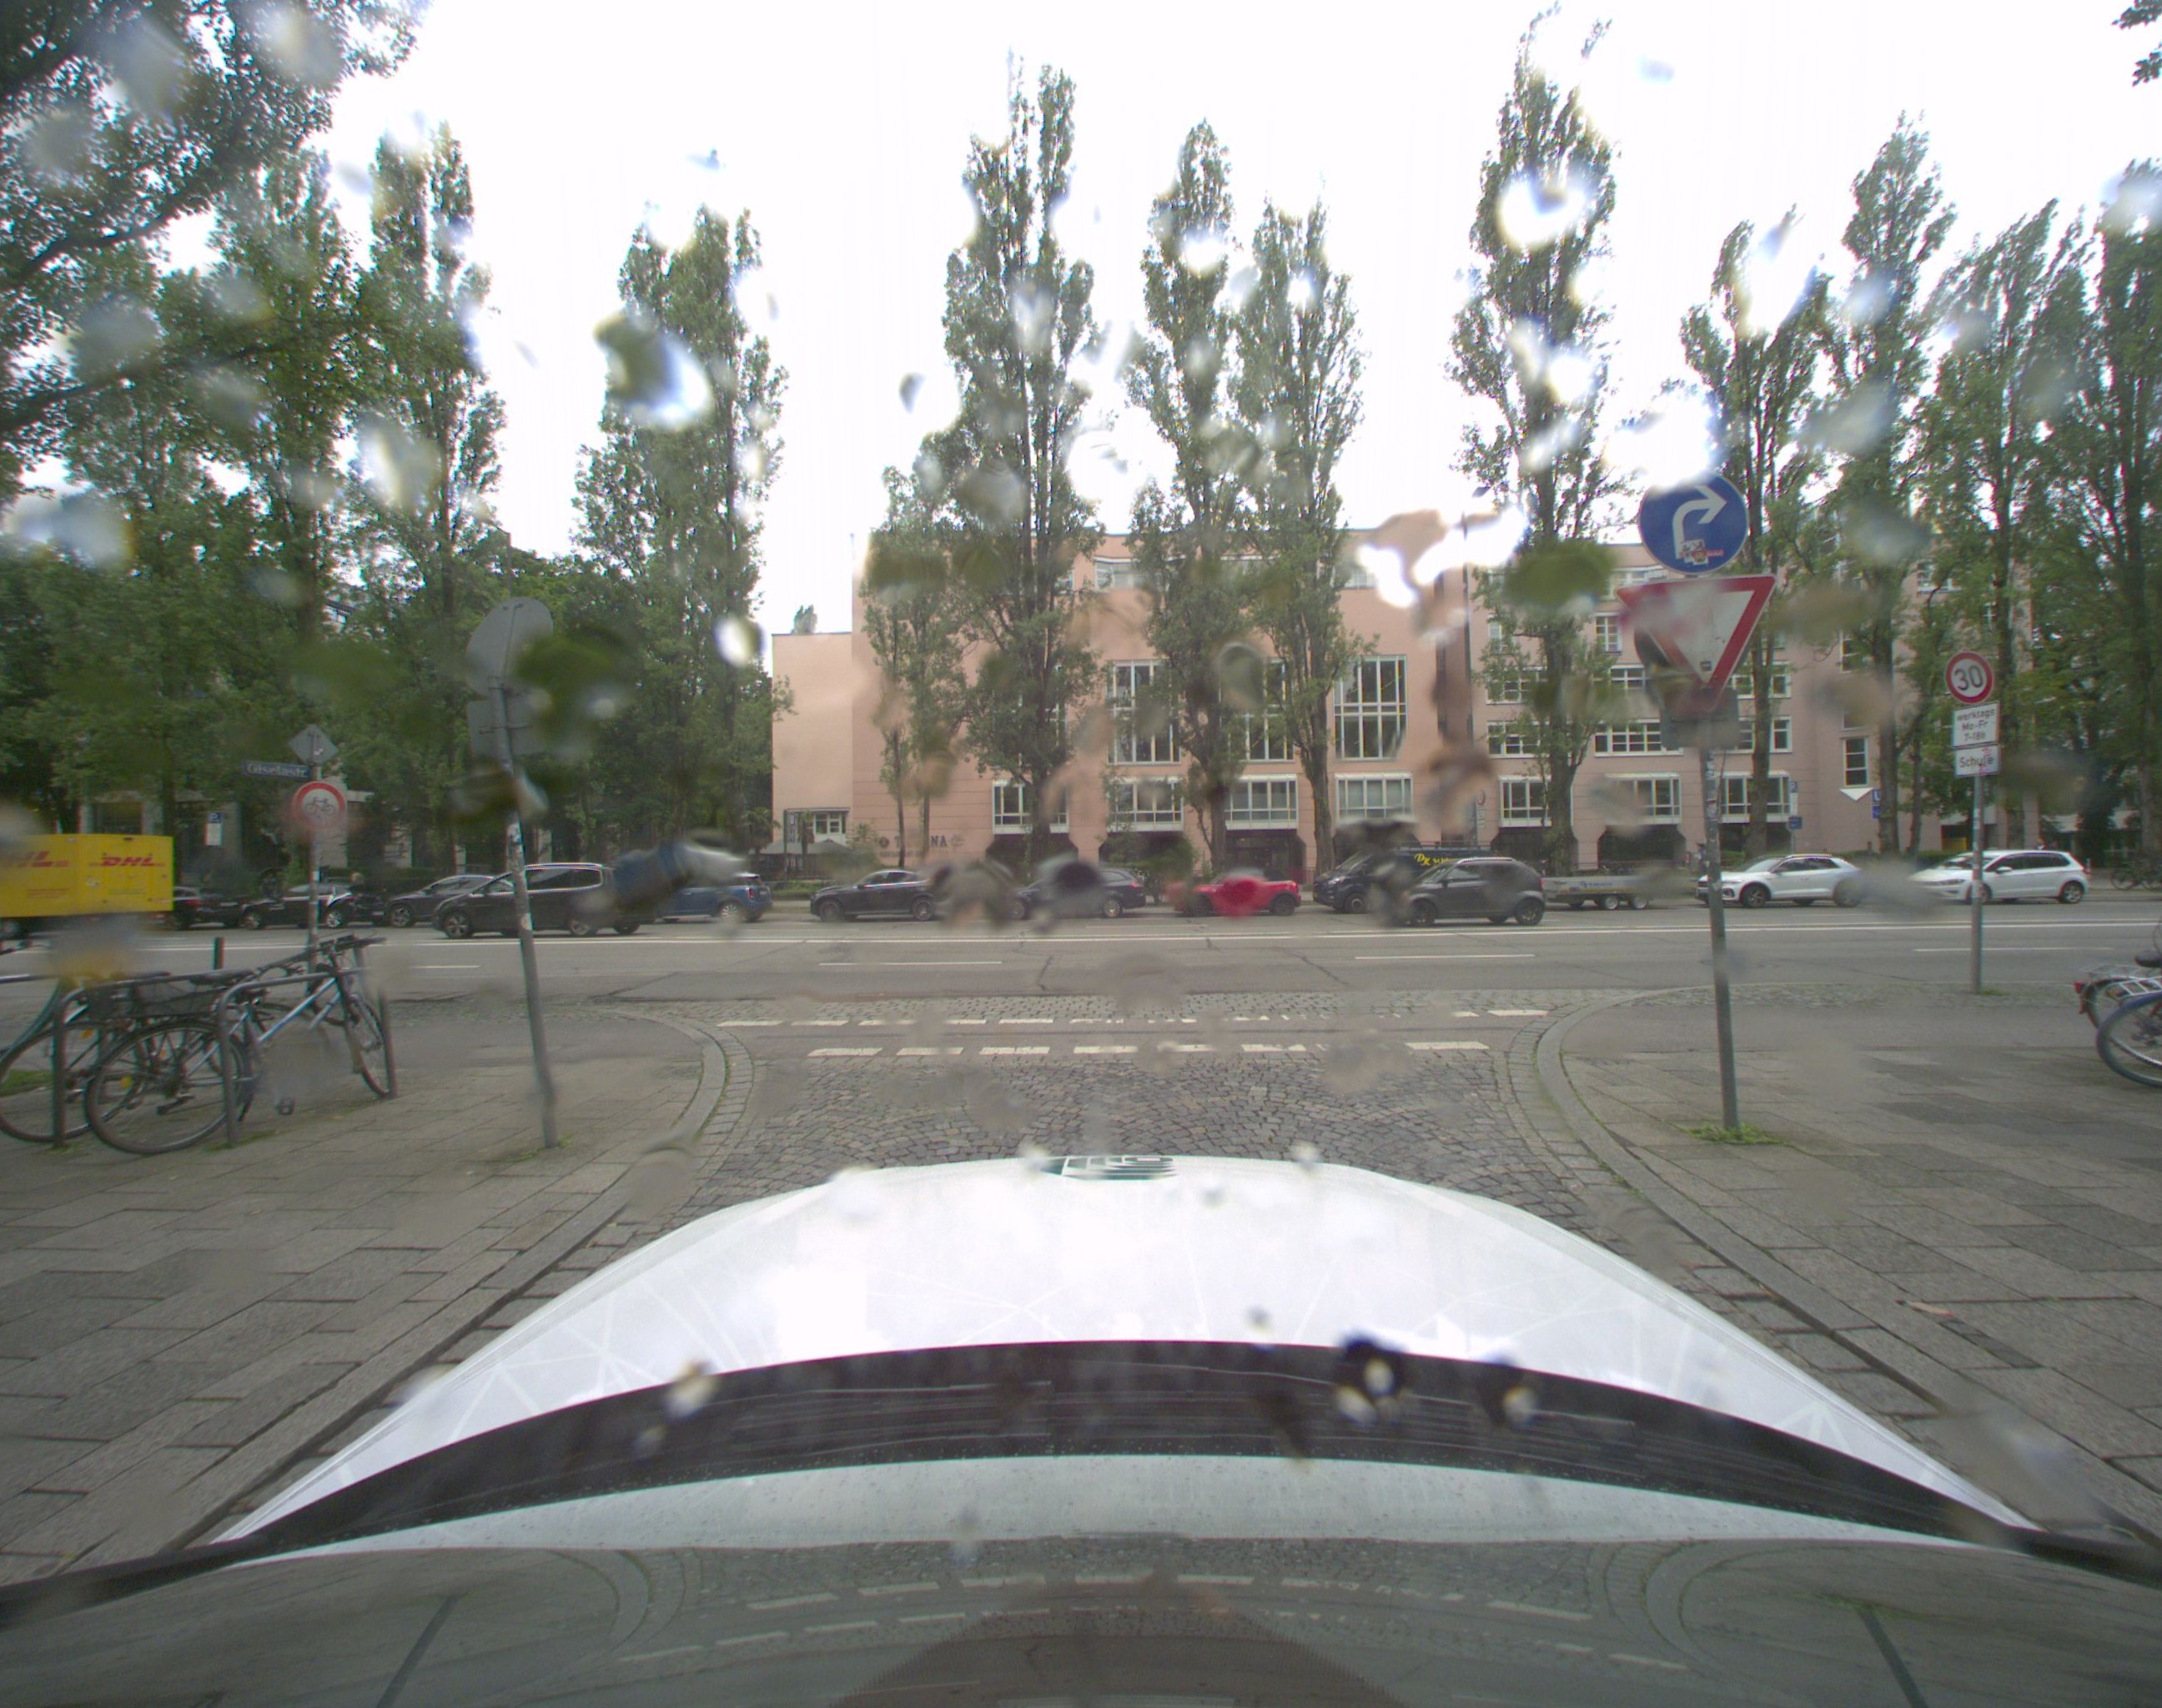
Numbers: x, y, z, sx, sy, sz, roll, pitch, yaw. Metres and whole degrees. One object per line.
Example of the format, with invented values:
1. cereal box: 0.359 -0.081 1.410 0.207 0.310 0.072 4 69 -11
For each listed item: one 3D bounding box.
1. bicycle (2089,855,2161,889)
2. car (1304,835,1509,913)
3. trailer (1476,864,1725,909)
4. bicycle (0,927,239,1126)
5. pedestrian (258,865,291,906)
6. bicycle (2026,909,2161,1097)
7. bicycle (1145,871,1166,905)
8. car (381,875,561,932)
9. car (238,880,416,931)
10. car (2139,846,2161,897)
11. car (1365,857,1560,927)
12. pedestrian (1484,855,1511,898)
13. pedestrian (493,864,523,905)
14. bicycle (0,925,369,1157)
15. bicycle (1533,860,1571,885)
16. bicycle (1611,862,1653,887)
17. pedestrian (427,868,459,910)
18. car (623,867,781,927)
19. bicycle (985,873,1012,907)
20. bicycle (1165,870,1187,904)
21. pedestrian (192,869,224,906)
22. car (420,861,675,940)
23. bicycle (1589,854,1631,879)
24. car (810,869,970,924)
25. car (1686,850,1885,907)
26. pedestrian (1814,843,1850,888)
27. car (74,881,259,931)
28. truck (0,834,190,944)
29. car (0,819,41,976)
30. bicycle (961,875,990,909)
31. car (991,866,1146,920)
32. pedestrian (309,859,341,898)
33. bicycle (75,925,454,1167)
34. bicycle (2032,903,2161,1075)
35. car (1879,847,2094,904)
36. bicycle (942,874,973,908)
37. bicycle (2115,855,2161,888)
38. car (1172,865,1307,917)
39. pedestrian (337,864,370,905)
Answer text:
1. bicycle: 36.835 0.602 28.509 0.671 1.124 1.990 -1 0 3
2. car: 9.788 0.602 24.843 5.458 2.197 2.025 -1 0 2
3. trailer: 15.580 0.953 24.727 5.994 1.199 2.406 -1 0 2
4. bicycle: -6.746 1.098 5.205 0.487 1.093 1.988 -1 0 7
5. pedestrian: -35.032 1.365 35.384 0.726 1.713 0.710 -2 -1 3
6. bicycle: 6.558 0.883 4.470 0.473 1.050 1.874 -1 -1 -3
7. bicycle: 2.657 1.212 29.296 0.671 1.124 1.743 -1 0 3
8. car: -18.751 1.504 25.171 4.207 1.601 1.794 -1 0 2
9. car: -23.492 1.584 25.465 3.854 1.412 1.794 1 -2 2
10. car: 34.881 0.497 24.132 4.293 1.542 2.001 -1 0 2
11. car: 8.868 0.865 19.172 3.725 1.527 1.850 -1 -1 2
12. pedestrian: 16.832 0.894 32.920 0.726 1.713 0.710 -1 -1 3
13. pedestrian: -24.054 1.264 34.205 0.726 1.713 0.710 -1 -1 3
14. bicycle: -5.643 1.078 5.228 0.487 1.093 1.706 -1 0 7
15. bicycle: 21.951 0.849 37.984 0.671 1.124 1.990 -1 0 3
16. bicycle: 25.500 0.930 37.707 0.671 1.124 1.990 -1 0 3
17. pedestrian: -26.292 1.435 33.573 0.726 1.713 0.710 -1 -1 3
18. car: -11.676 1.316 25.272 4.051 1.732 1.793 -1 -2 0
19. bicycle: -2.956 1.277 29.364 0.671 1.124 1.990 -1 0 3
20. bicycle: 3.395 1.173 29.245 0.671 1.124 1.743 -1 0 3
21. pedestrian: -41.060 1.557 38.318 0.726 1.713 0.710 -1 -1 3
22. car: -12.585 1.087 19.442 4.780 1.722 2.001 -1 -2 2
23. bicycle: 24.598 0.577 37.902 0.671 1.124 2.108 -1 0 3
24. car: -5.840 1.284 25.238 4.482 1.529 1.794 -1 0 2
25. car: 20.810 0.735 24.193 4.202 1.542 1.808 -1 -2 4
26. pedestrian: 29.408 0.448 31.899 0.726 1.713 0.710 -1 -1 3
27. car: -28.801 1.622 25.735 3.854 1.412 1.794 -1 0 2
28. truck: -30.189 0.974 23.145 7.028 2.908 2.603 -1 -1 2
29. car: -21.294 0.817 13.299 5.999 2.651 2.048 -1 1 1
30. bicycle: -3.769 1.347 29.320 0.671 1.124 1.990 -1 0 3
31. car: -0.338 1.170 25.042 4.590 1.529 1.794 -1 0 2
32. pedestrian: -33.066 1.059 35.607 0.726 1.713 0.710 -1 -1 3
33. bicycle: -4.871 1.062 5.047 0.487 1.093 1.706 -1 0 7
34. bicycle: 7.147 0.888 5.011 0.472 1.050 1.878 -1 0 4
35. car: 26.982 0.628 24.385 4.298 1.542 1.999 -1 0 -1
36. bicycle: -4.438 1.328 29.348 0.671 1.124 1.990 -1 0 3
37. bicycle: 37.652 0.594 28.395 0.671 1.124 1.990 -1 0 3
38. car: 4.742 1.110 24.742 3.843 1.449 1.680 -1 0 4
39. pedestrian: -30.639 1.267 34.312 0.726 1.713 0.710 -1 -1 3
